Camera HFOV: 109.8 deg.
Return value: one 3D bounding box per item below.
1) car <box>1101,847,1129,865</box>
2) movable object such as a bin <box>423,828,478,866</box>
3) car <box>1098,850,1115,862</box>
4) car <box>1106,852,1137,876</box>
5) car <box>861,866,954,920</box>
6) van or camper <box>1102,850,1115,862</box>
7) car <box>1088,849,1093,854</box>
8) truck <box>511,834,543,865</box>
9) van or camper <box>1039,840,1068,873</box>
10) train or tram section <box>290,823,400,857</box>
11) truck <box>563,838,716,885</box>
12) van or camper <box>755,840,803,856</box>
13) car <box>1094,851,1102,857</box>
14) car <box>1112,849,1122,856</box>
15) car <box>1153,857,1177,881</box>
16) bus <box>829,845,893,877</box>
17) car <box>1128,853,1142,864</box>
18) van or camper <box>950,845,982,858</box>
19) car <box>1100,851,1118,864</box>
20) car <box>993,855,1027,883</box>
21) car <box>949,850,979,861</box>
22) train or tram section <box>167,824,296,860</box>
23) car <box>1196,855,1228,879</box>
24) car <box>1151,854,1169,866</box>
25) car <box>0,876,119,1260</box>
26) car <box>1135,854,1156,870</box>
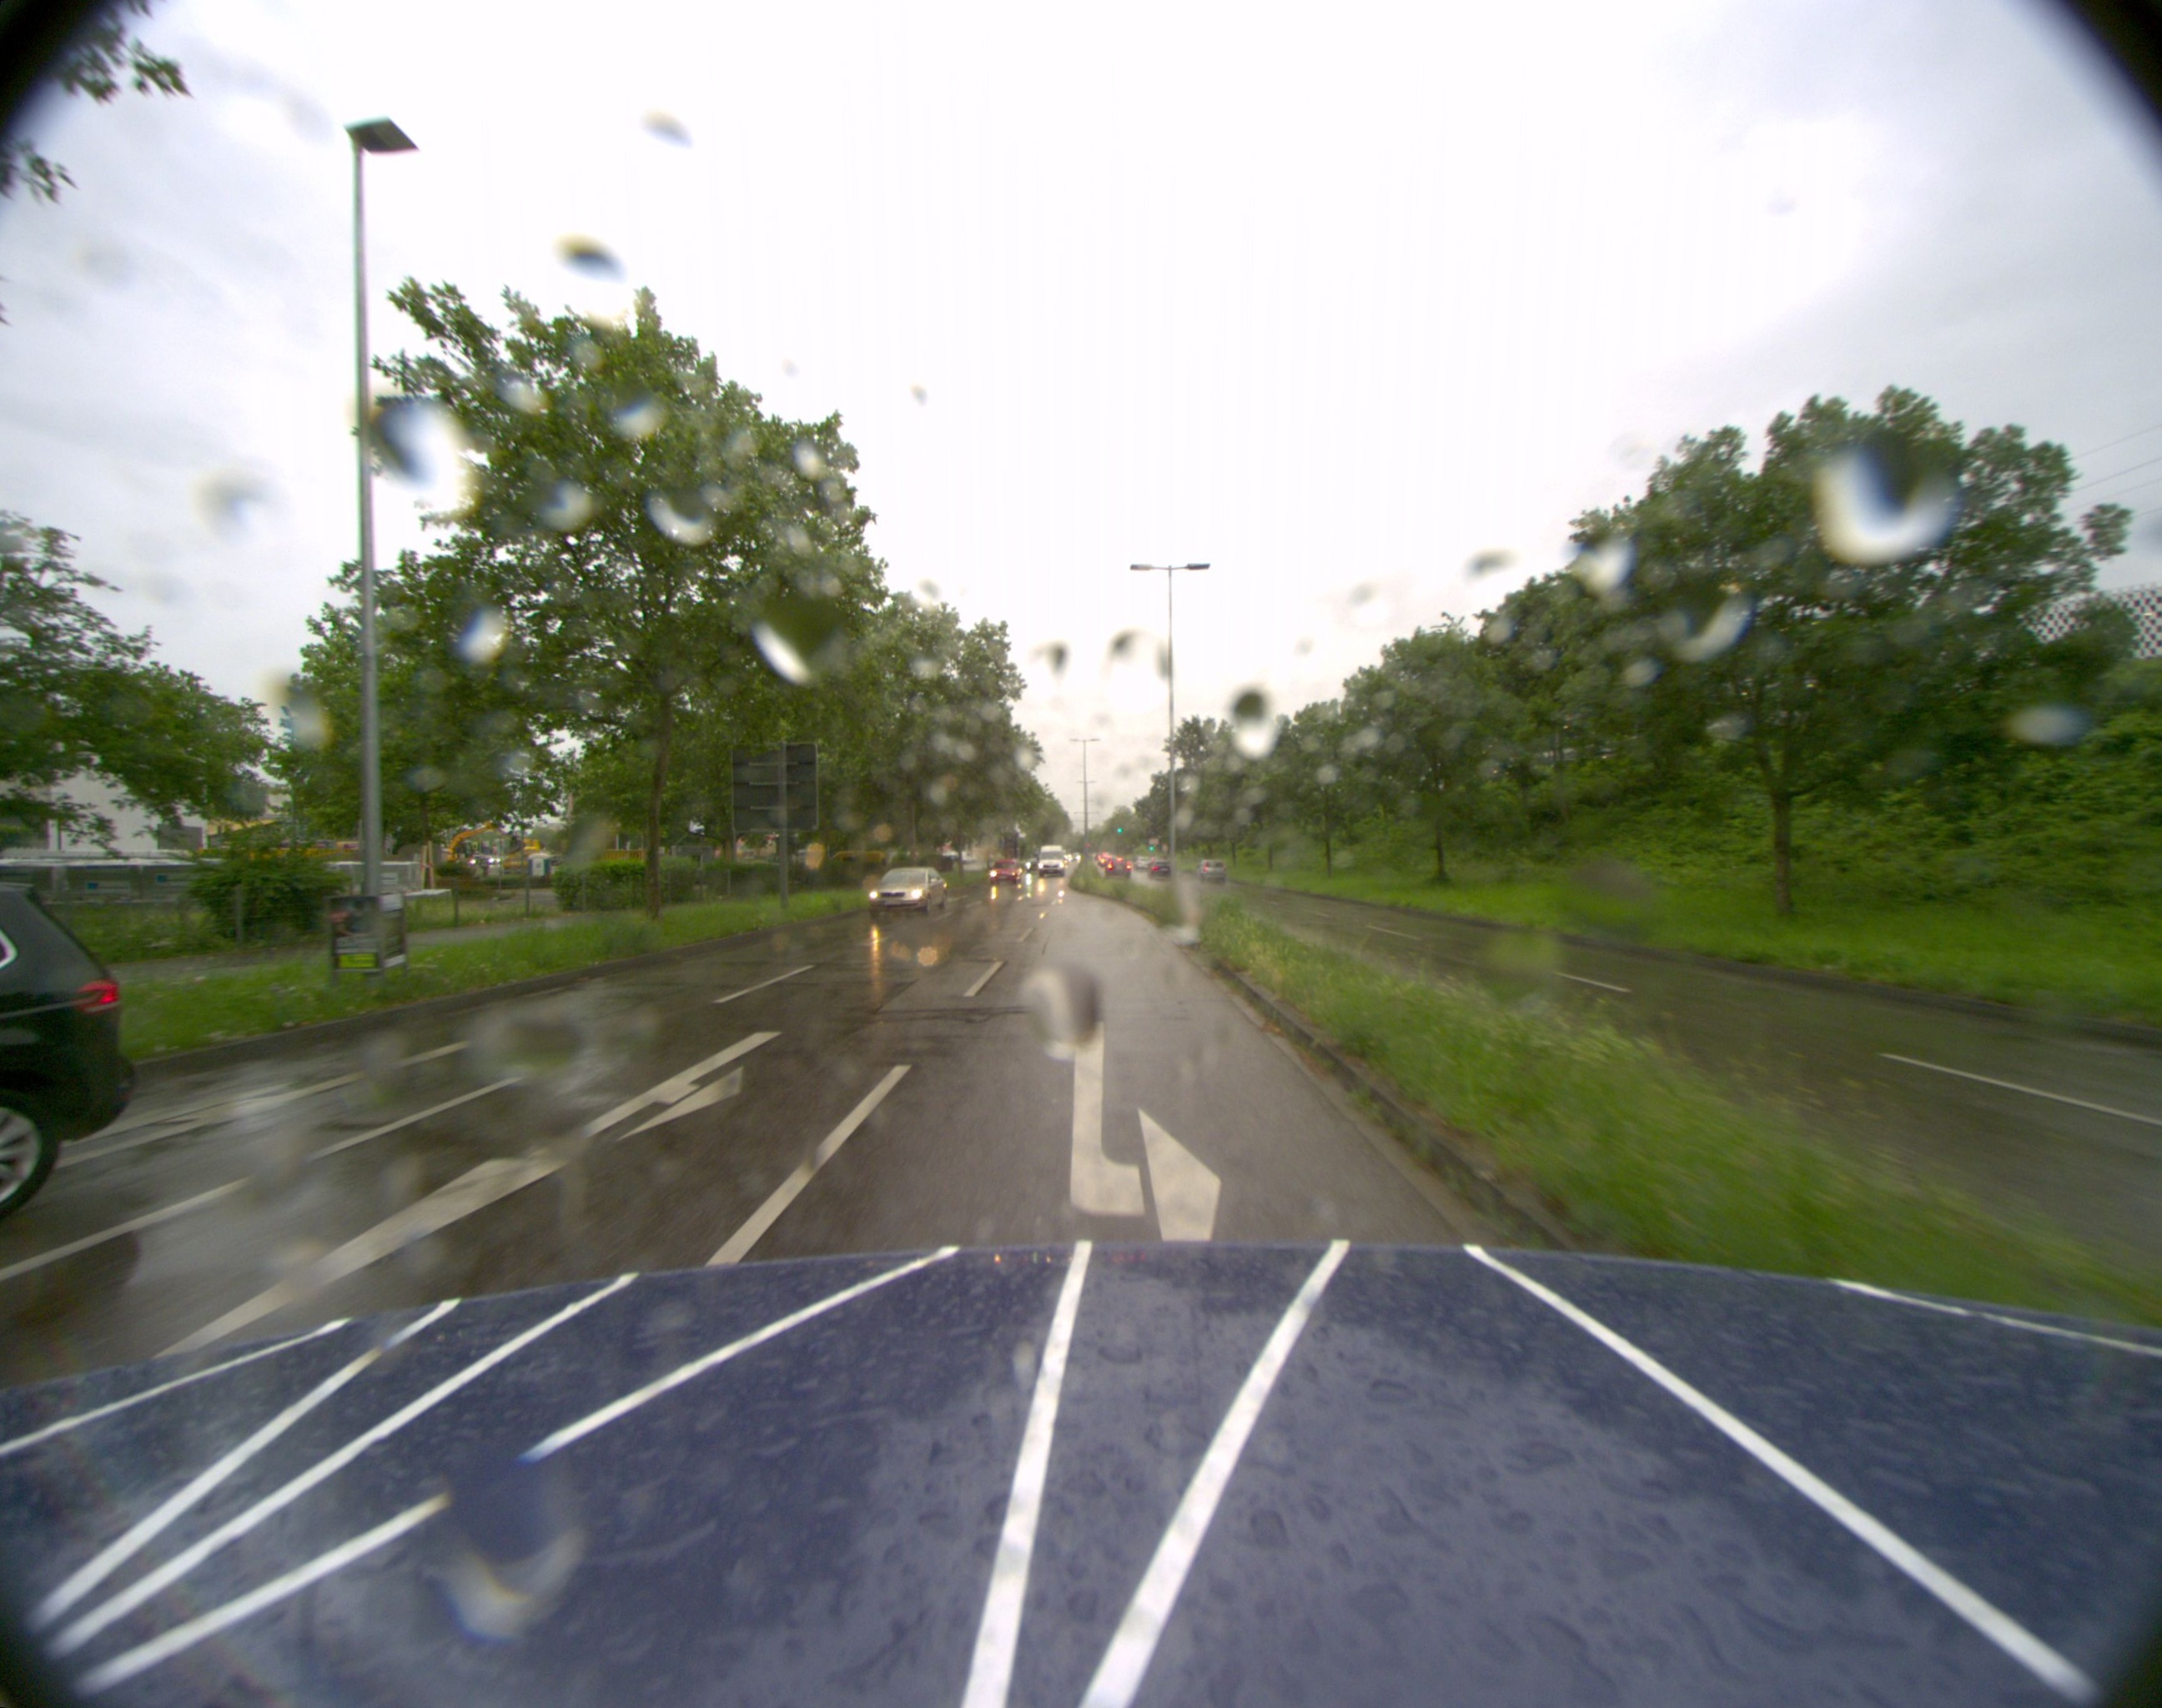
[{"bbox_3d":[2.977,0.162,67.759,1.914,1.565,4.706,1,0,-5],"label":"car"},{"bbox_3d":[-63.049,-0.711,75.963,3.602,3.605,3.326,1,1,36],"label":"movable object such as a bin"},{"bbox_3d":[3.625,0.254,107.808,1.904,1.604,4.109,2,1,-3],"label":"car"},{"bbox_3d":[2.933,0.708,56.239,1.829,1.566,4.358,3,1,-2],"label":"car"},{"bbox_3d":[-5.298,1.140,23.756,1.807,1.422,4.386,-1,1,1],"label":"car"},{"bbox_3d":[4.289,0.272,118.391,1.733,1.732,3.999,2,1,0],"label":"van or camper"},{"bbox_3d":[3.292,-0.817,263.127,1.780,1.552,3.773,-2,1,1],"label":"car"},{"bbox_3d":[-63.007,-0.538,86.569,2.501,3.327,9.444,-3,2,-34],"label":"truck"},{"bbox_3d":[-2.259,0.173,63.466,2.100,2.580,4.775,-2,1,2],"label":"van or camper"},{"bbox_3d":[-81.443,-1.621,84.318,8.385,3.500,2.394,-3,3,-38],"label":"train or tram section"},{"bbox_3d":[-32.737,0.424,56.580,9.517,3.015,3.073,-3,2,-35],"label":"truck"},{"bbox_3d":[-64.284,-1.329,161.959,8.994,3.140,2.979,-3,2,-35],"label":"van or camper"},{"bbox_3d":[4.718,-0.077,208.993,1.998,1.678,4.709,1,0,1],"label":"car"},{"bbox_3d":[8.089,-0.321,170.534,1.998,1.678,4.709,1,0,1],"label":"car"},{"bbox_3d":[6.203,1.102,56.347,1.724,1.608,4.347,0,1,6],"label":"car"},{"bbox_3d":[-18.893,0.568,65.443,4.804,2.632,2.000,-1,1,2],"label":"bus"},{"bbox_3d":[8.849,0.725,123.894,1.998,1.678,4.709,1,0,1],"label":"car"},{"bbox_3d":[-18.800,-0.399,124.324,4.918,2.076,1.863,0,1,-38],"label":"van or camper"},{"bbox_3d":[3.442,0.447,94.182,1.914,1.565,4.707,1,0,-3],"label":"car"},{"bbox_3d":[-4.717,0.976,50.923,1.699,1.759,4.558,-1,0,2],"label":"car"},{"bbox_3d":[-18.536,0.201,120.517,4.470,1.663,1.863,0,1,-38],"label":"car"},{"bbox_3d":[-88.184,-1.319,79.167,8.546,3.500,2.394,-3,3,-38],"label":"train or tram section"},{"bbox_3d":[9.184,0.872,53.465,1.700,1.608,3.847,-1,0,2],"label":"car"},{"bbox_3d":[9.801,0.707,94.372,1.840,1.493,4.440,1,0,1],"label":"car"},{"bbox_3d":[-5.811,0.991,1.729,1.861,1.716,4.190,-2,0,0],"label":"car"},{"bbox_3d":[6.882,0.816,81.068,1.913,1.565,4.709,2,0,1],"label":"car"}]
